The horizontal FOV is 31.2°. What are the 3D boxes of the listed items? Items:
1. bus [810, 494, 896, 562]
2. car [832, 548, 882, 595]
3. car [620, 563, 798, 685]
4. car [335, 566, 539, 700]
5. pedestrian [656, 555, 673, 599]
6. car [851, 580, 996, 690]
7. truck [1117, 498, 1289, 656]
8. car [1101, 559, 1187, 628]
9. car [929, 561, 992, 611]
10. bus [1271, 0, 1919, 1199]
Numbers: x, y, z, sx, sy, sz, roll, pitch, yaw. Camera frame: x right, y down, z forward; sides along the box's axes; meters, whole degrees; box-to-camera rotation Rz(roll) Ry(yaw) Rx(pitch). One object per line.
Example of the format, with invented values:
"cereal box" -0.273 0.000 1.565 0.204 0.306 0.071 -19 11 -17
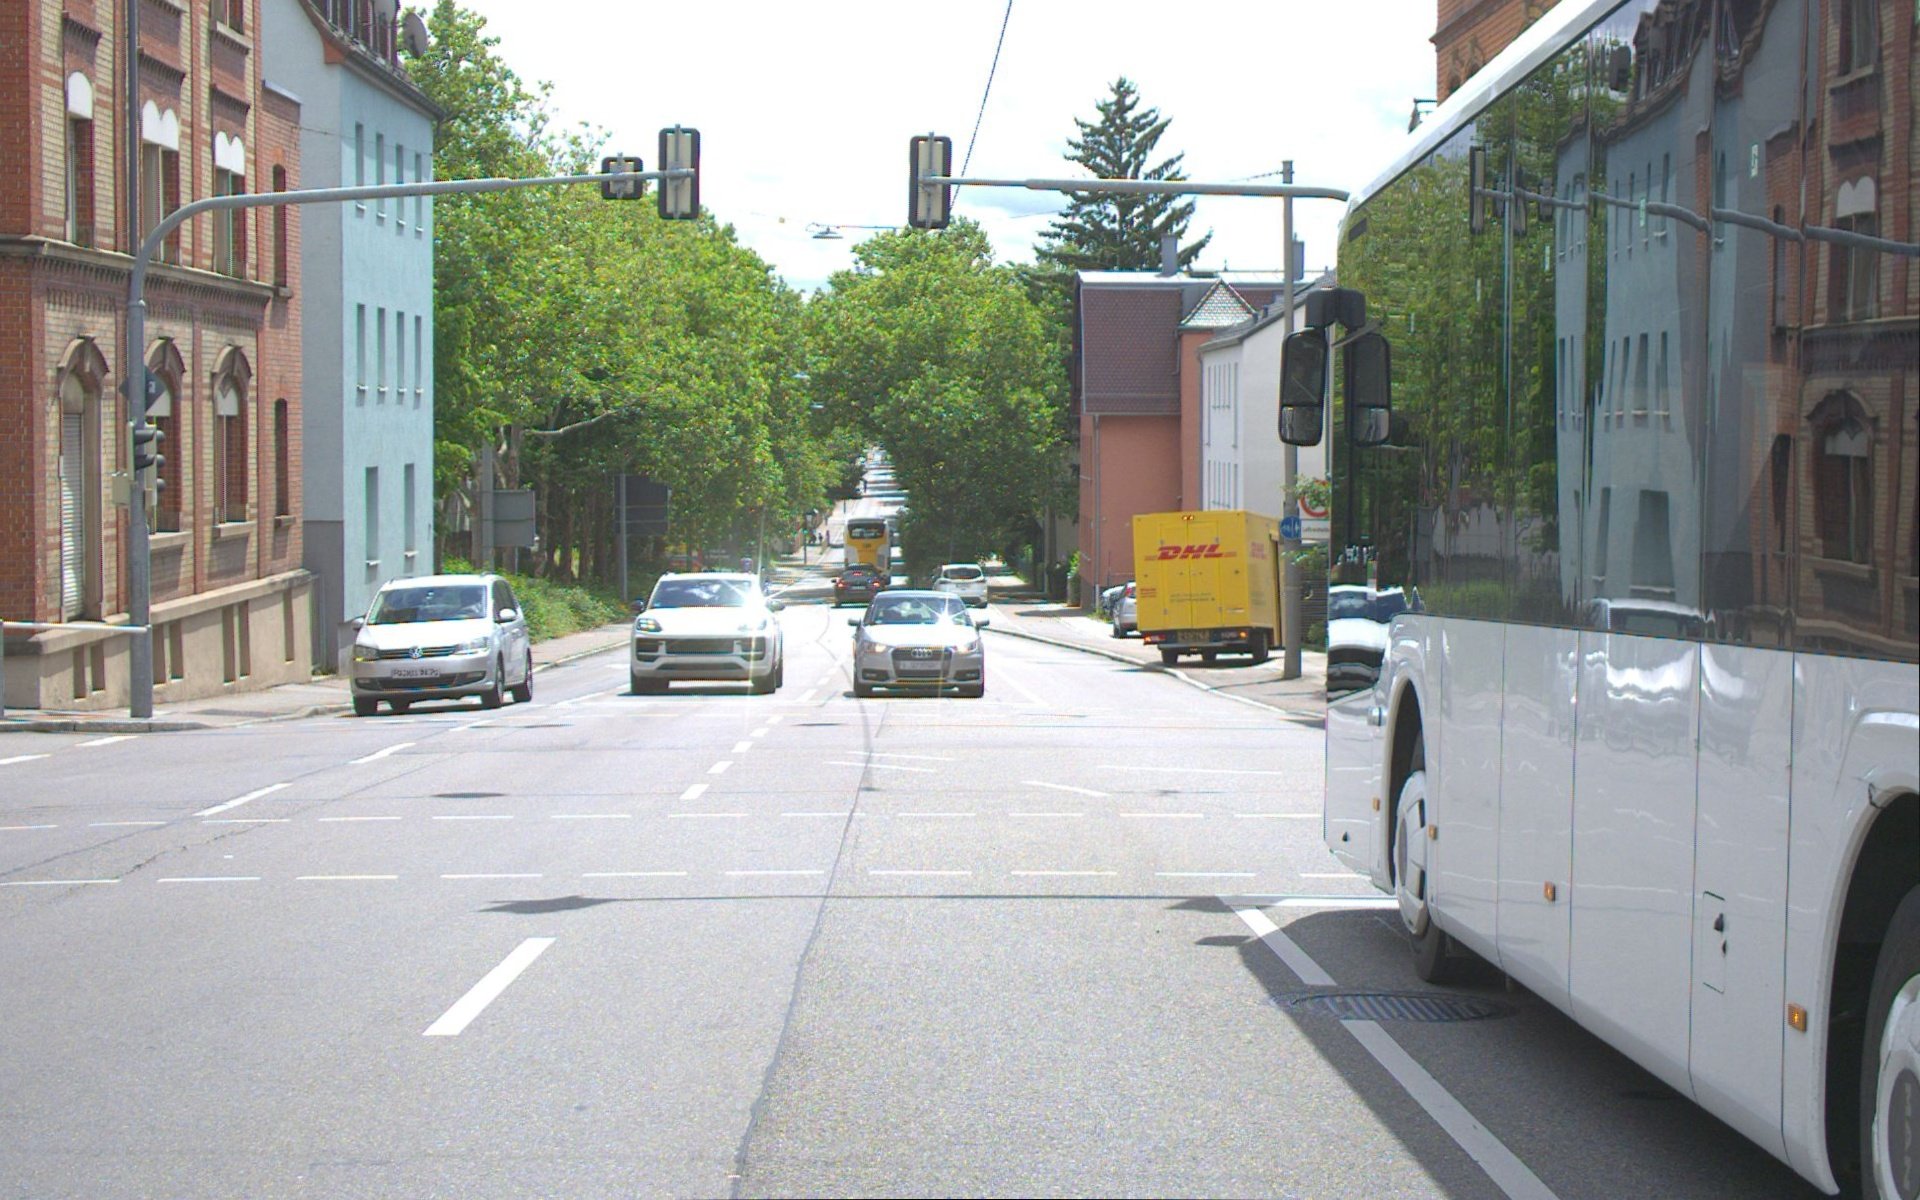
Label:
"bus" -6.014 -3.963 191.294 3.299 3.618 11.247 -1 1 -9
"car" -3.975 -1.127 133.123 1.819 1.778 4.000 0 1 -1
"car" -3.480 0.294 48.474 2.207 1.607 4.547 -1 1 -1
"car" -6.507 0.376 43.211 1.935 1.558 4.389 -1 1 -1
"pedestrian" -11.752 -0.909 136.569 0.606 1.752 0.654 -1 1 -2
"car" -0.494 0.441 46.536 1.865 1.363 4.547 -1 1 -1
"truck" 4.822 -0.451 67.101 2.542 2.903 6.569 1 0 11
"car" 4.958 -0.191 93.007 1.910 1.810 4.001 0 1 -3
"car" -0.010 -0.548 129.358 2.091 1.824 4.143 0 1 -4
"bus" 2.941 -0.268 9.134 2.904 3.498 12.488 1 1 -1
